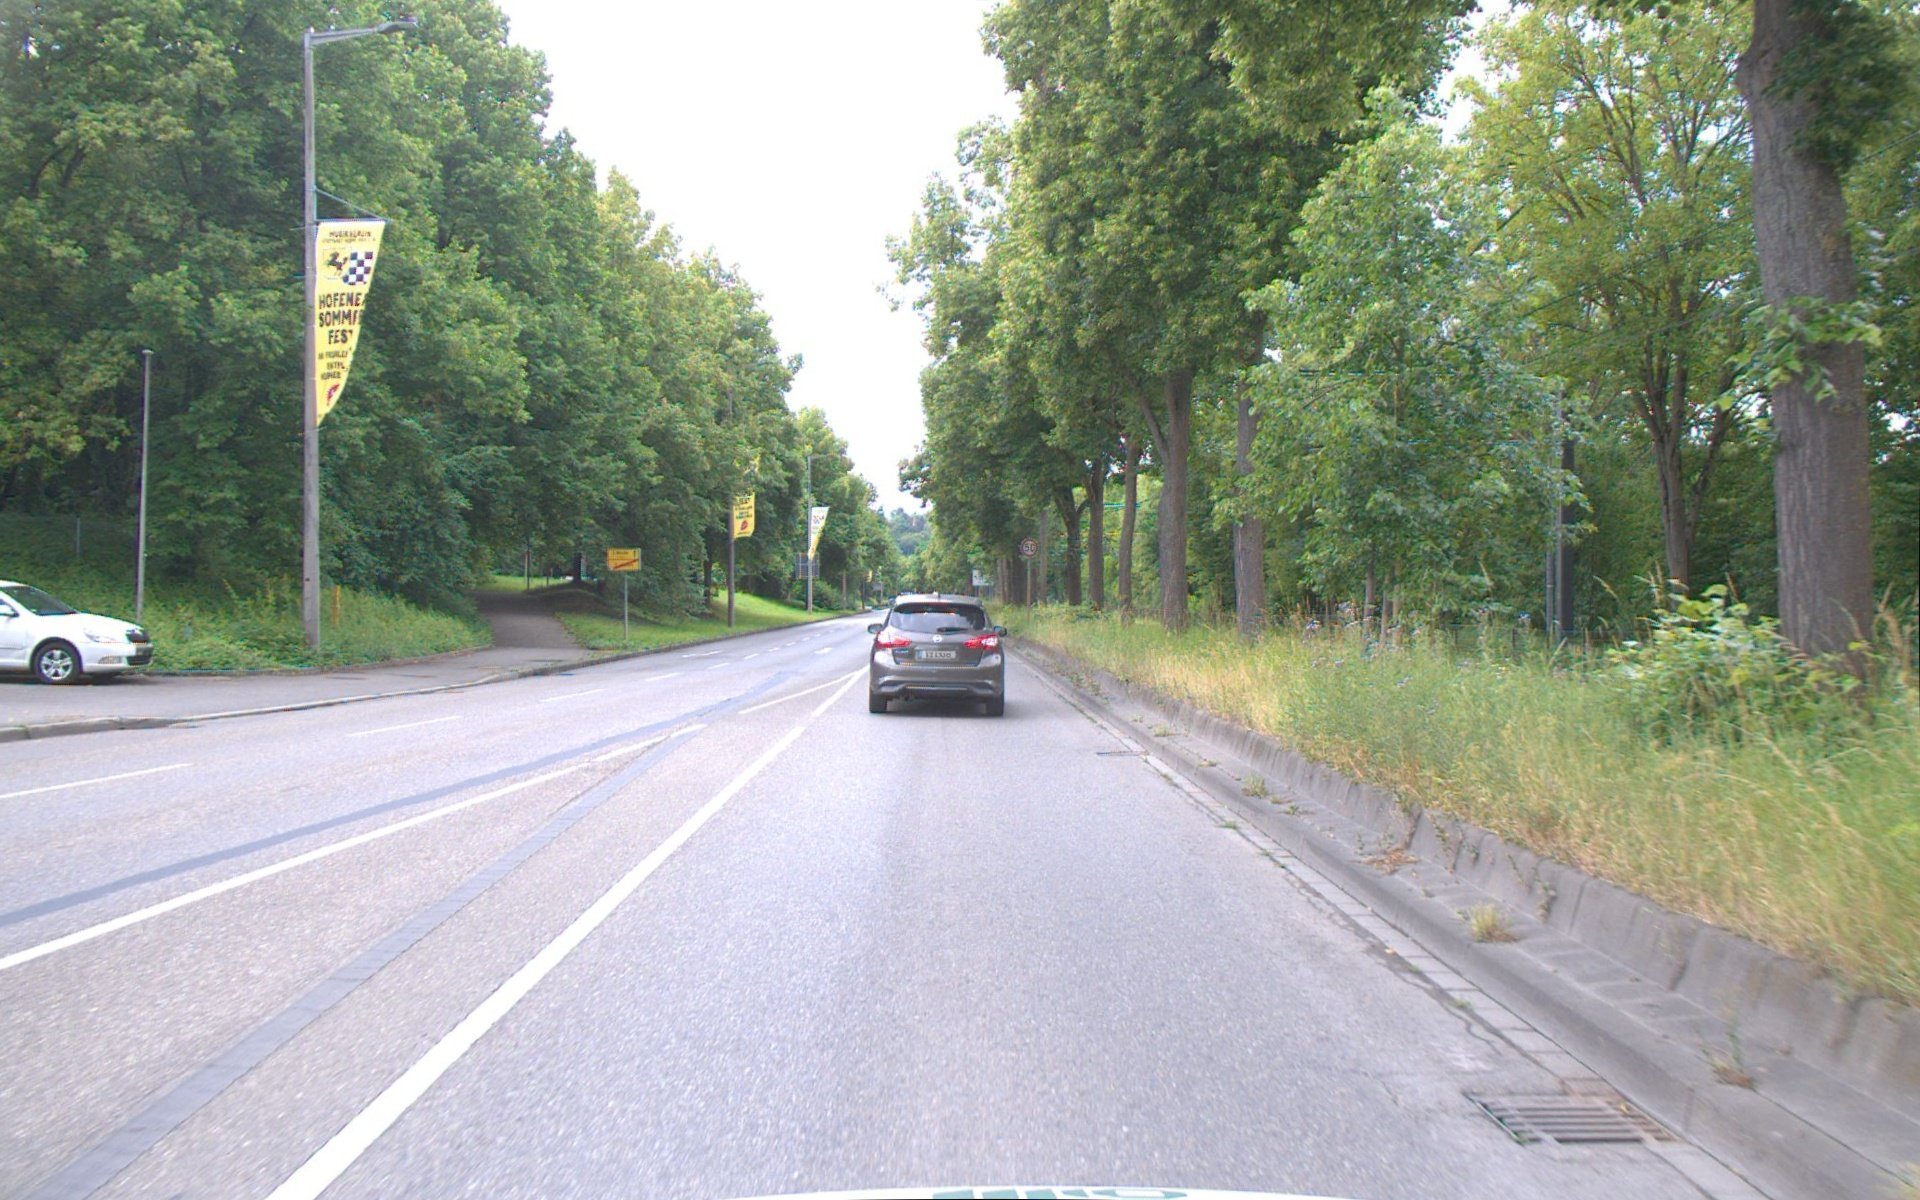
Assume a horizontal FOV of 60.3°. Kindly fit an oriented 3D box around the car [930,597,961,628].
[{"bbox_3d":[-0.729,0.640,84.808,1.472,1.555,3.671,2,0,1],"label":"car"}]

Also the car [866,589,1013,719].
[{"bbox_3d":[-0.224,0.678,22.435,1.799,1.555,3.929,1,0,1],"label":"car"}]

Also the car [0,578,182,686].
[{"bbox_3d":[-14.187,0.415,24.559,4.288,1.466,1.960,2,0,-4],"label":"car"}]
